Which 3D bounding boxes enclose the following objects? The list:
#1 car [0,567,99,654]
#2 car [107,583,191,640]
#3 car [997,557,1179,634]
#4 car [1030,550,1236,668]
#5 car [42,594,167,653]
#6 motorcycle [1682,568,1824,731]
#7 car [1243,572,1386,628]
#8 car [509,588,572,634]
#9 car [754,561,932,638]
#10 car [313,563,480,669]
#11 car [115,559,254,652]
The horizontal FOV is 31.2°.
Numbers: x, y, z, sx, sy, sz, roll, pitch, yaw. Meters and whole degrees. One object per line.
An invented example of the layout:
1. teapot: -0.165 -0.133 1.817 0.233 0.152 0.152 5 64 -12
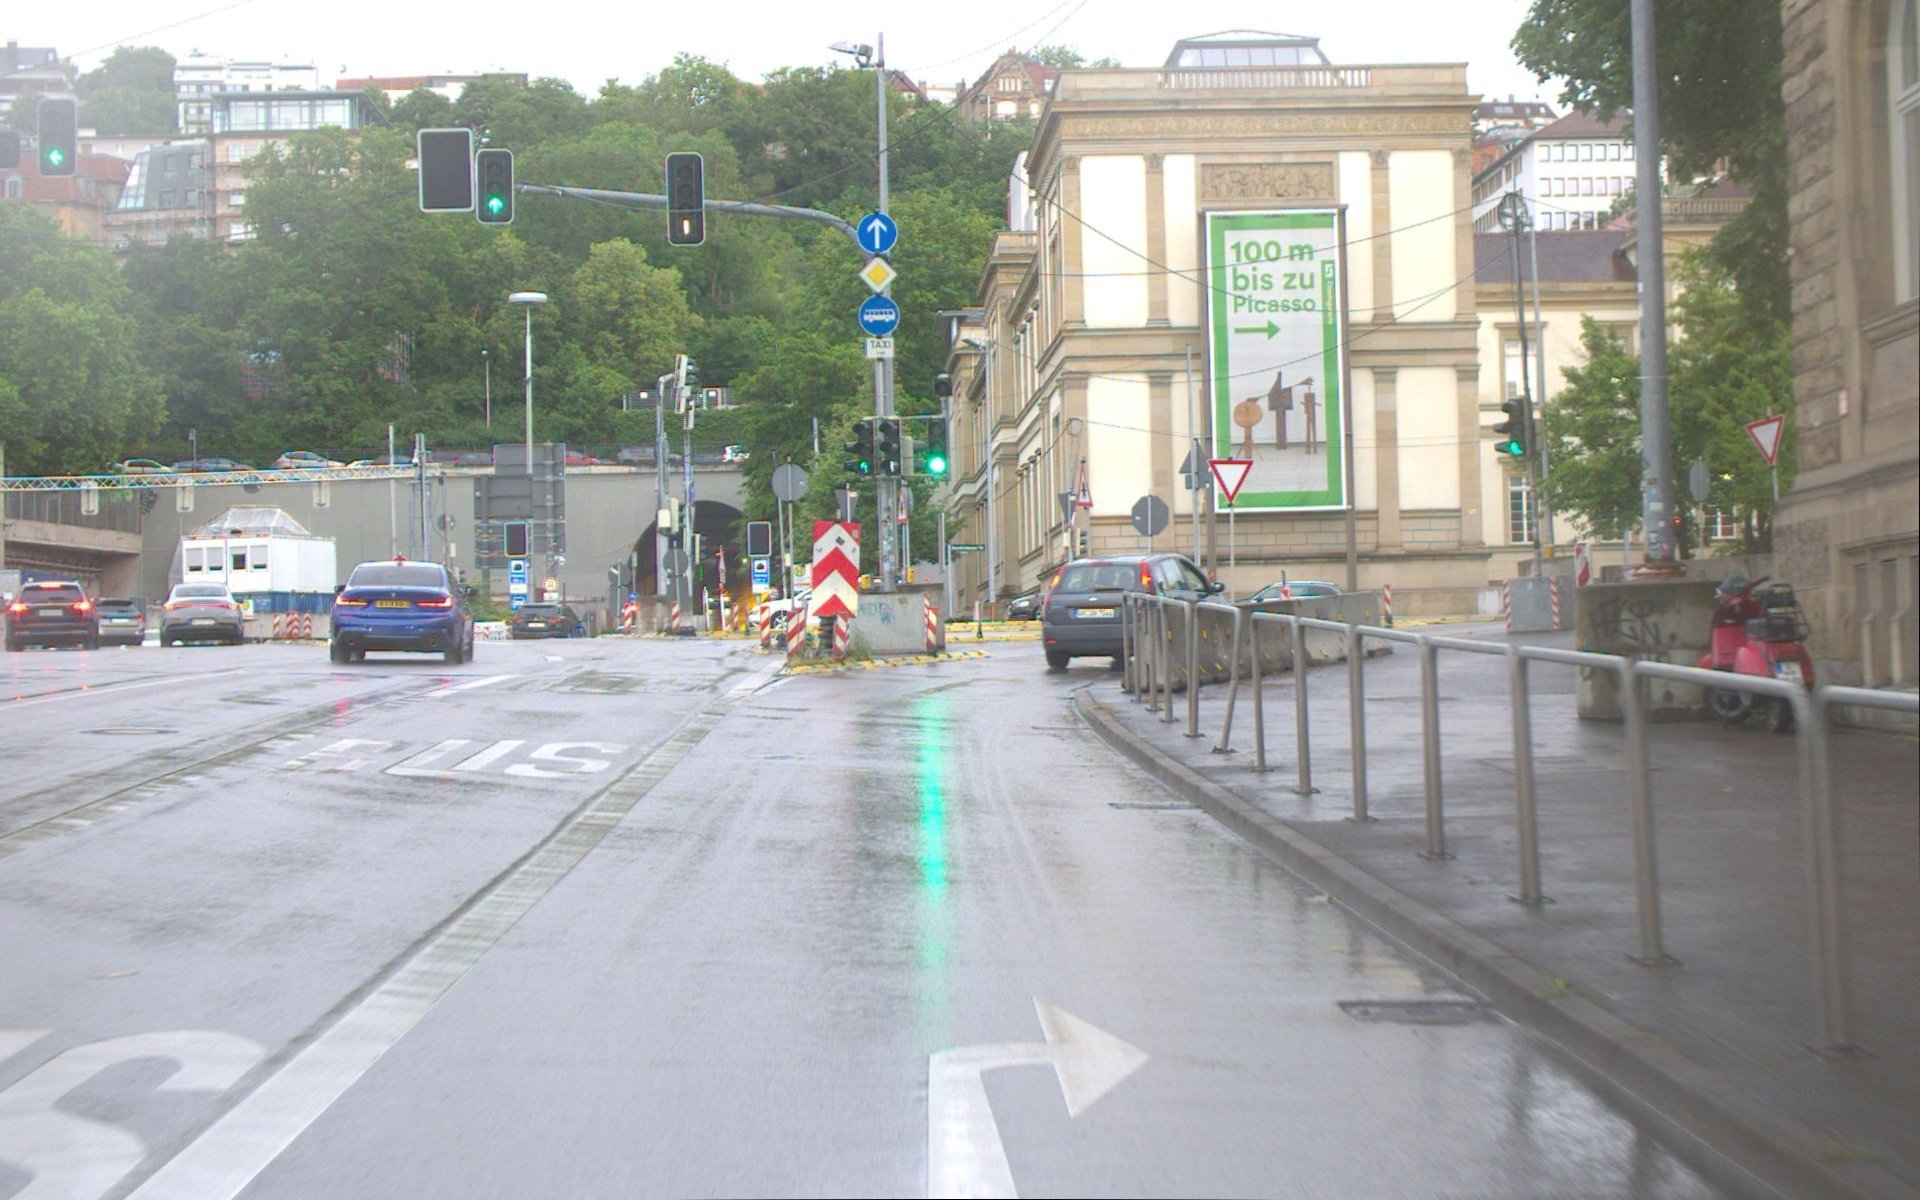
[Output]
1. car: -19.301 0.199 72.795 1.775 1.744 4.001 0 1 -18
2. car: -29.932 0.424 126.925 1.994 2.007 4.000 0 1 3
3. car: 3.423 -0.131 92.358 4.674 2.007 2.000 0 1 -5
4. car: 2.258 0.082 43.928 1.671 1.422 3.754 0 1 19
5. car: -23.004 0.615 92.349 1.776 1.459 3.999 -1 1 -38
6. motorcycle: 5.779 0.339 25.128 0.546 1.134 1.899 -1 1 -1
7. car: 10.848 -0.014 105.368 4.180 1.695 1.823 0 1 -1
8. car: -13.061 0.325 107.159 1.493 1.349 4.000 1 1 -1
9. car: -3.150 -0.024 91.665 4.625 2.007 2.000 0 1 -5
10. car: -7.927 0.206 48.685 1.993 1.433 4.001 0 0 -4
11. car: -17.711 0.092 78.413 1.993 2.007 4.295 -1 1 -28
